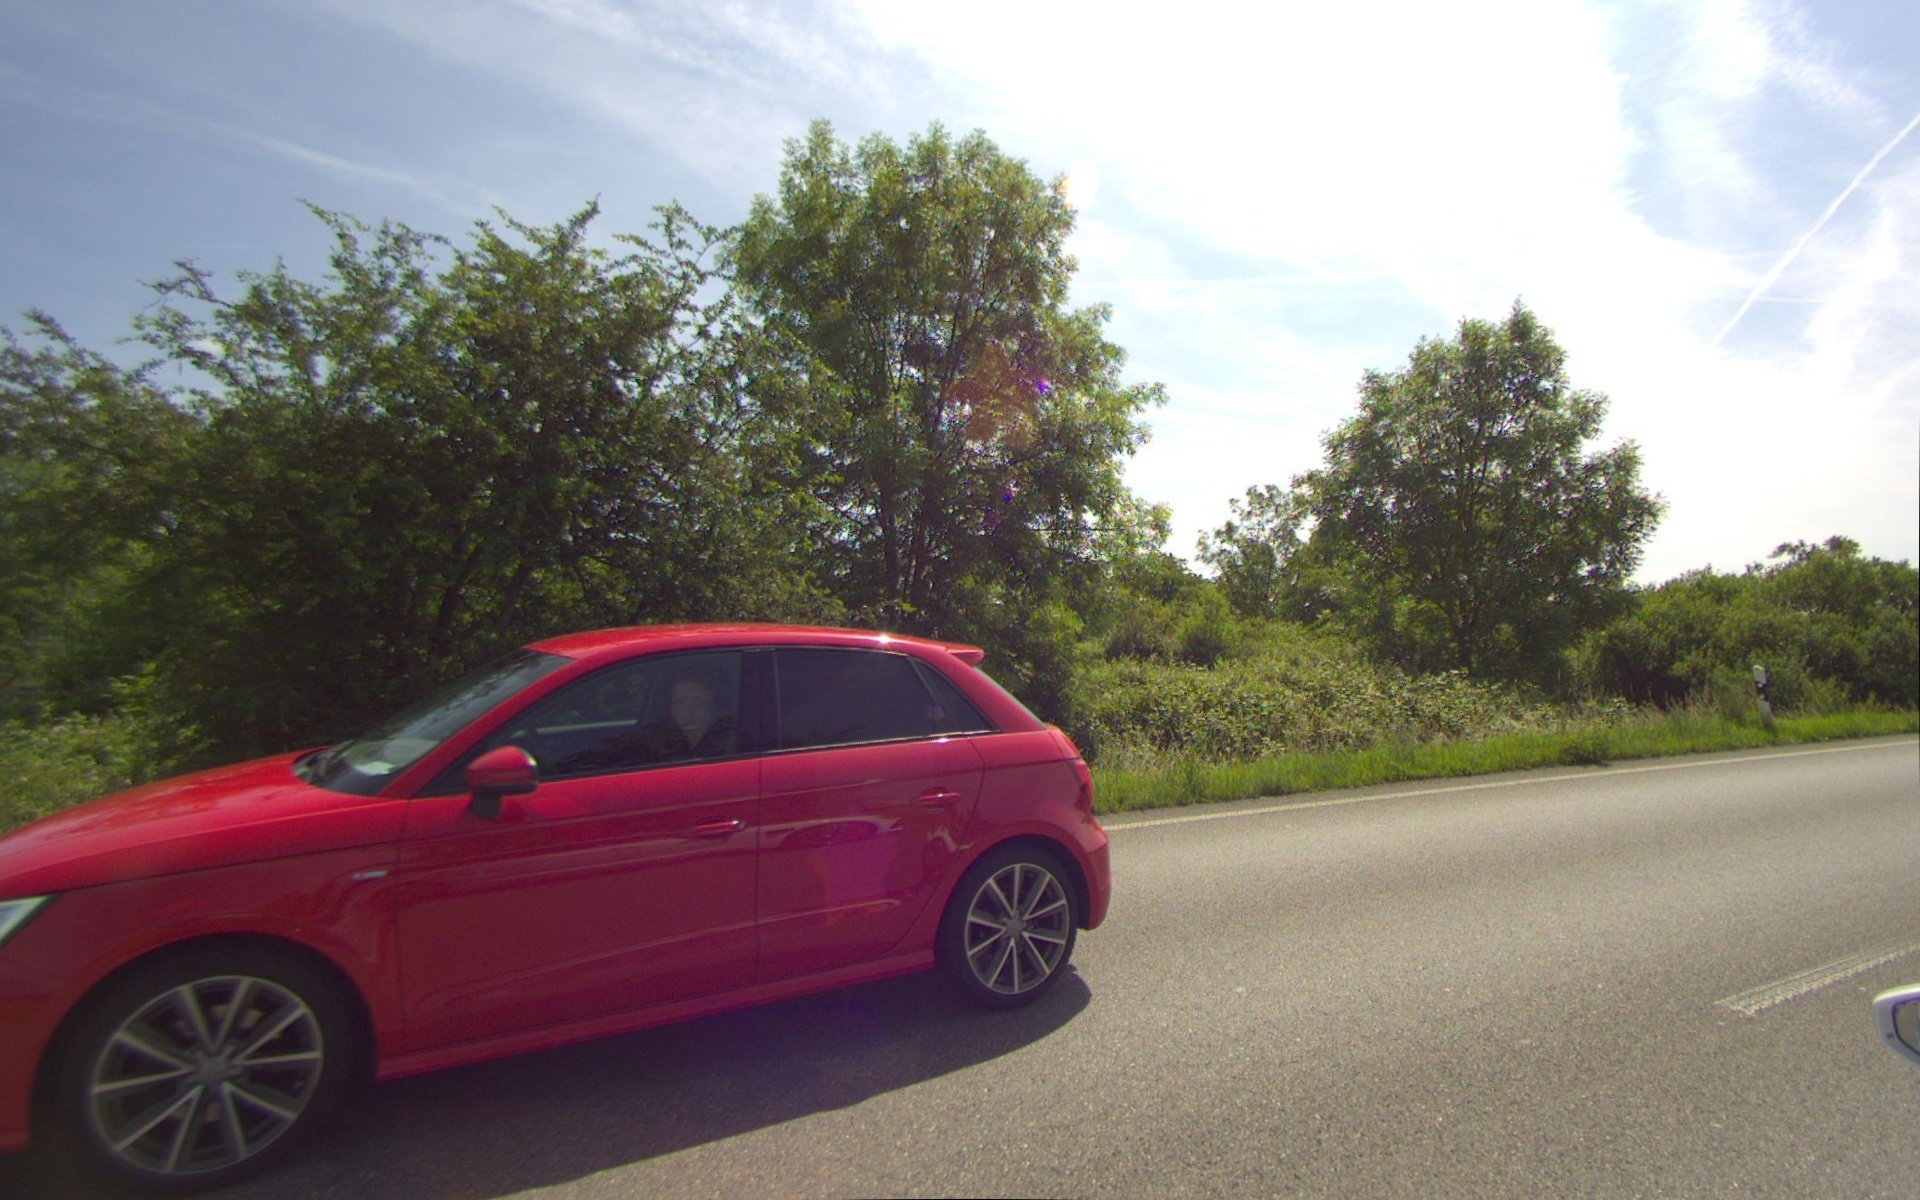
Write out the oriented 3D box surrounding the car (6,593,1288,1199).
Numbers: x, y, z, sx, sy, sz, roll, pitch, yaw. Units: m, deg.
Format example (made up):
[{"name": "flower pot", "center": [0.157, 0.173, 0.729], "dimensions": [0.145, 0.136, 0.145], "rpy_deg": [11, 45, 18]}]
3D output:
[{"name": "car", "center": [-0.803, 0.774, 4.113], "dimensions": [4.133, 1.416, 1.812], "rpy_deg": [1, -3, -30]}]
